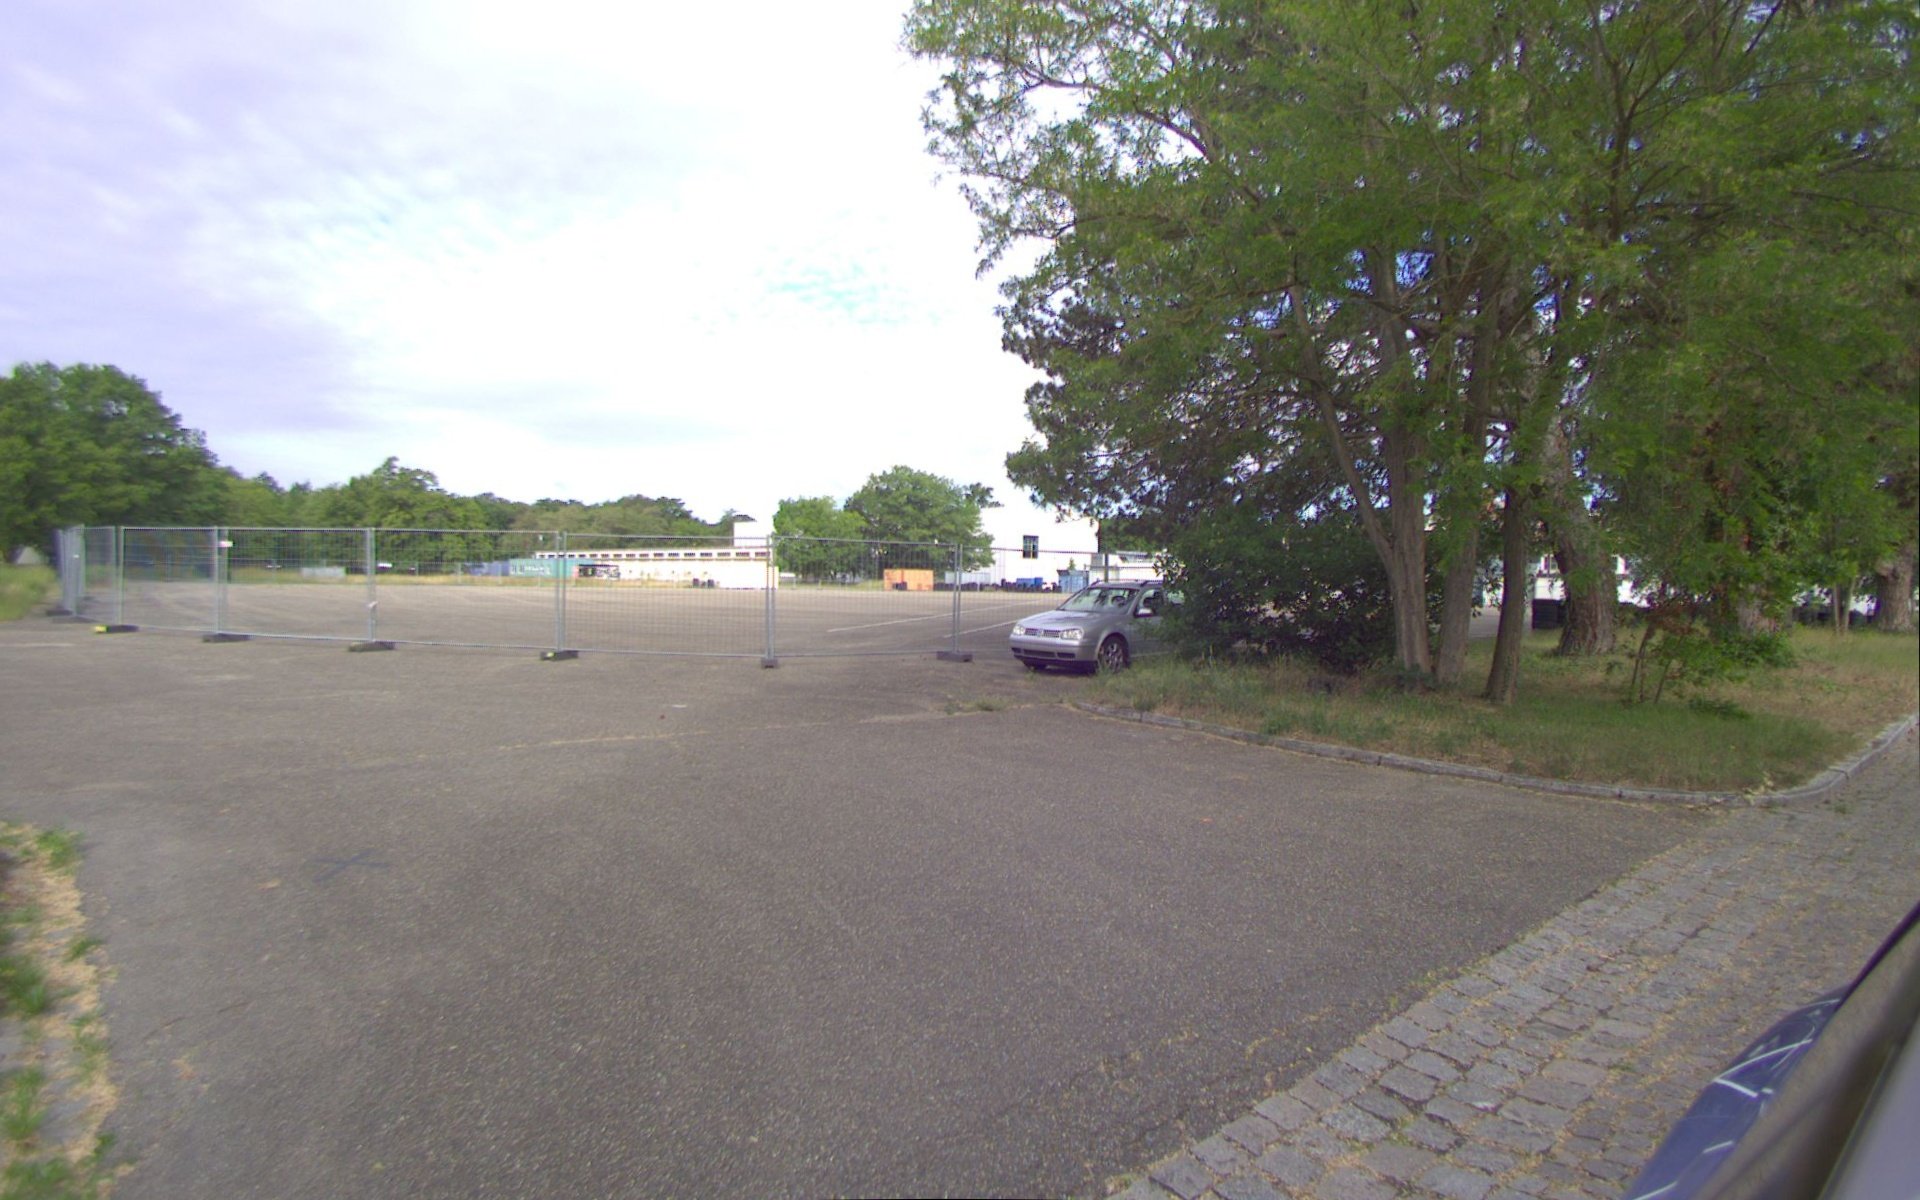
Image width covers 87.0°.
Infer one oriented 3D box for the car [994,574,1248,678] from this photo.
[{"bbox_3d":[2.715,0.352,16.521,4.251,1.466,1.758,0,2,-41],"label":"car"}]
